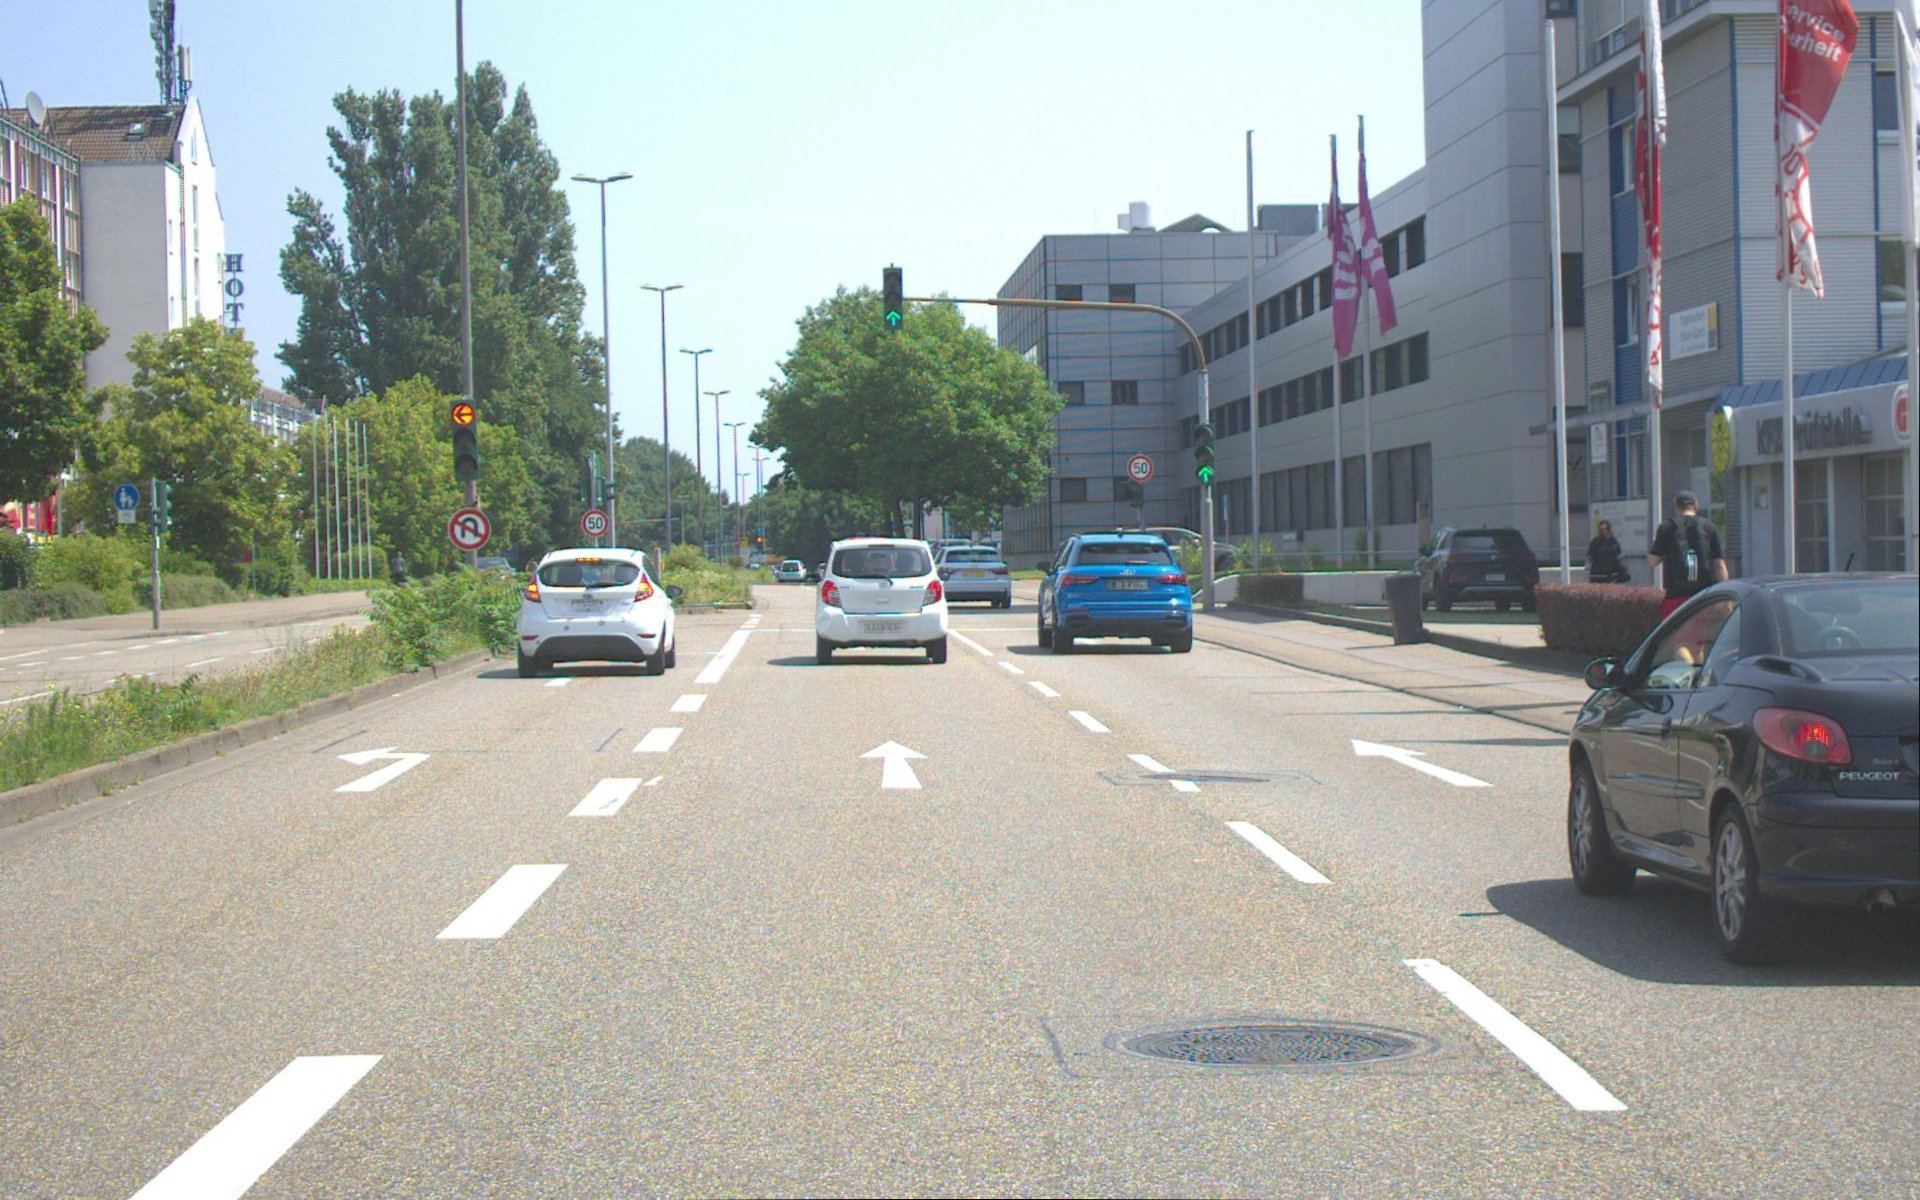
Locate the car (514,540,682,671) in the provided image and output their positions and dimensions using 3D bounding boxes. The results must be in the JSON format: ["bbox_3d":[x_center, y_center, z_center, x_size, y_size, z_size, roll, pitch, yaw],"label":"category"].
[{"bbox_3d":[-4.209,0.029,40.430,1.688,1.429,3.712,-1,1,-2],"label":"car"}]

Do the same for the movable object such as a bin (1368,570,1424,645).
[{"bbox_3d":[5.576,0.094,43.937,0.551,0.916,0.653,-4,1,-2],"label":"movable object such as a bin"}]

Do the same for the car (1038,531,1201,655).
[{"bbox_3d":[2.116,-0.131,46.493,1.827,1.575,3.606,-1,1,-3],"label":"car"}]

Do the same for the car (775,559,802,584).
[{"bbox_3d":[-11.893,-1.975,238.109,1.819,1.656,4.001,-2,1,-3],"label":"car"}]

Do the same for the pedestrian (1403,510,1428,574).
[{"bbox_3d":[11.810,-1.502,89.108,0.593,1.629,0.523,-2,1,6],"label":"pedestrian"}]

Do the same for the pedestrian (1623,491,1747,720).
[{"bbox_3d":[5.961,0.037,28.315,0.785,1.840,0.936,-1,1,0],"label":"pedestrian"}]

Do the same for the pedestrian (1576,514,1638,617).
[{"bbox_3d":[10.396,-0.562,55.278,0.810,1.621,0.853,-2,1,1],"label":"pedestrian"}]

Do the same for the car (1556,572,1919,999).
[{"bbox_3d":[3.439,0.596,13.144,1.627,1.359,3.606,0,1,-1],"label":"car"}]

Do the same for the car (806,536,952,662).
[{"bbox_3d":[-1.009,-0.045,43.287,1.748,1.515,3.746,0,1,-1],"label":"car"}]

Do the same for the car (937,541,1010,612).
[{"bbox_3d":[0.305,-0.552,77.221,1.559,1.515,3.605,-1,1,0],"label":"car"}]

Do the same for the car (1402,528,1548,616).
[{"bbox_3d":[9.259,-0.528,62.155,1.844,1.526,4.197,0,1,-2],"label":"car"}]

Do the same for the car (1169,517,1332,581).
[{"bbox_3d":[8.223,-1.449,97.617,4.258,1.683,2.000,-1,1,-7],"label":"car"}]
